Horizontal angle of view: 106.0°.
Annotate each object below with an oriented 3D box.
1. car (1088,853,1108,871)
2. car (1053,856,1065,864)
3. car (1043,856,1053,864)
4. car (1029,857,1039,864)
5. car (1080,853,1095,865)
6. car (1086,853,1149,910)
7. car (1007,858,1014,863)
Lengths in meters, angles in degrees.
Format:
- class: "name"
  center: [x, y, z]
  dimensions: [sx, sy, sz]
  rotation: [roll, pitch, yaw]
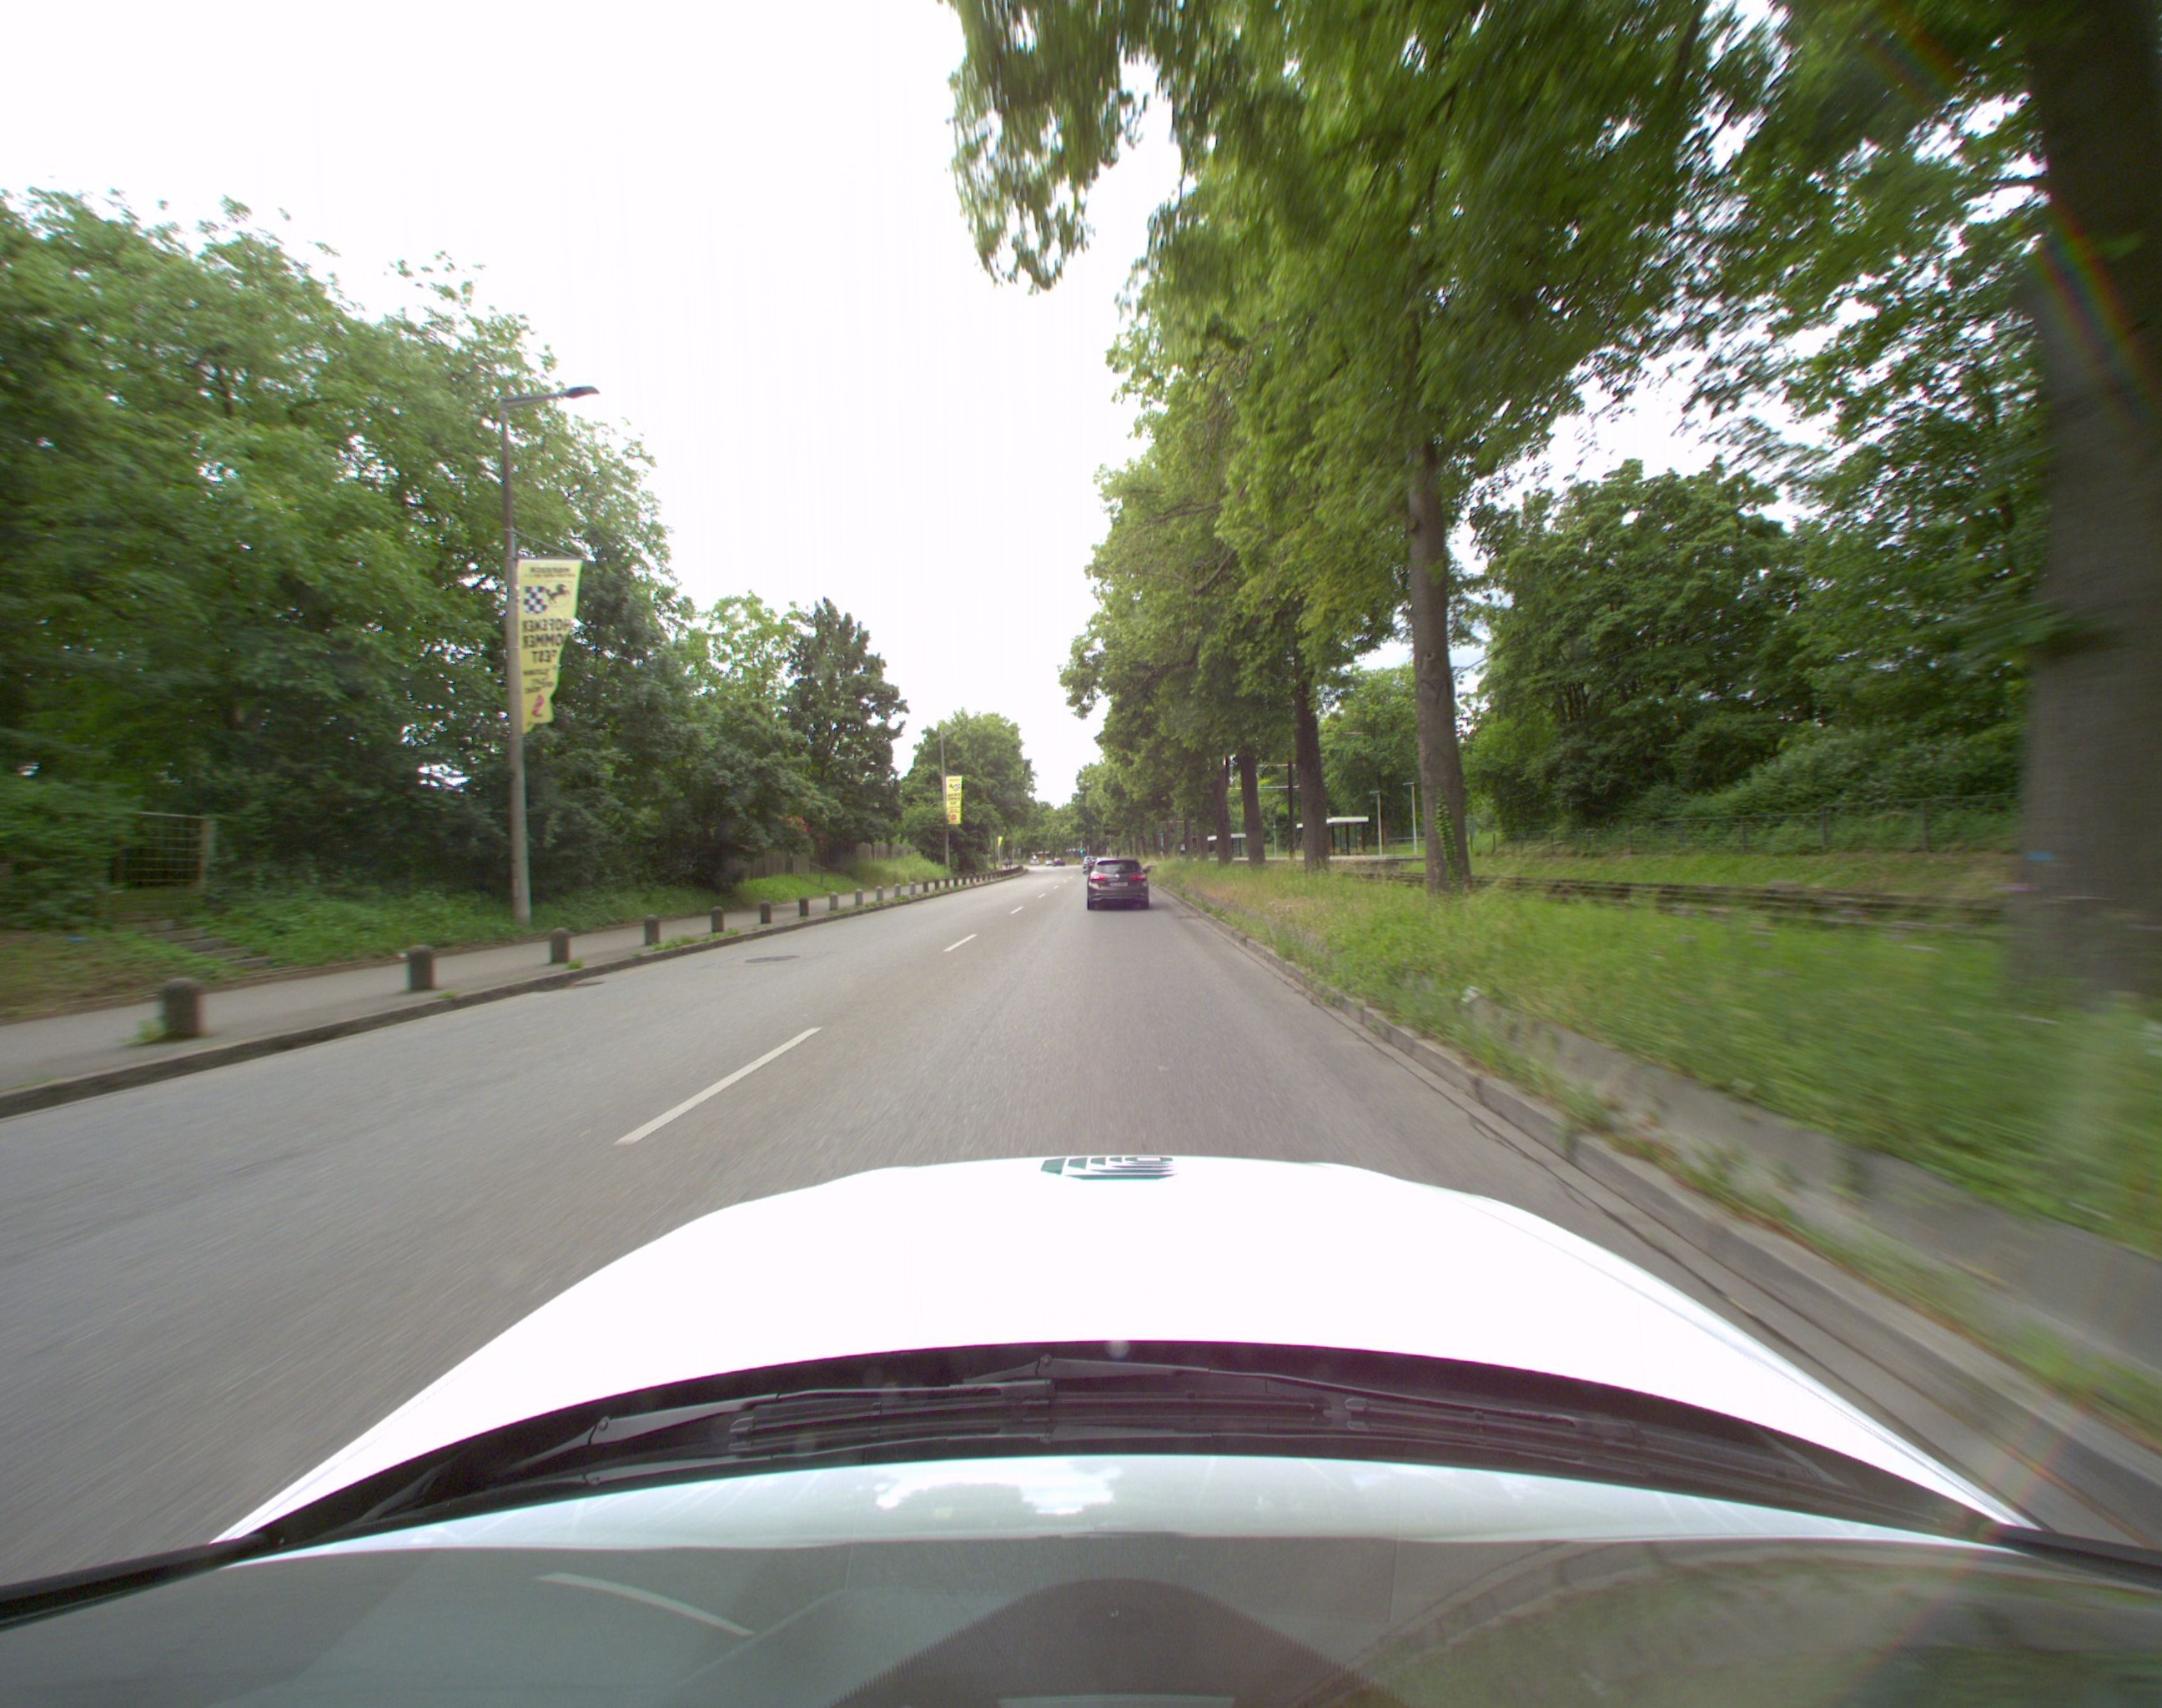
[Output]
- class: "car"
  center: [1.480, 0.700, 71.920]
  dimensions: [1.724, 1.537, 3.552]
  rotation: [-1, 0, 1]
- class: "car"
  center: [-3.734, 0.998, 139.338]
  dimensions: [1.561, 1.441, 3.540]
  rotation: [-1, 0, -10]
- class: "car"
  center: [-6.264, 1.099, 154.451]
  dimensions: [1.561, 1.441, 3.540]
  rotation: [-1, 0, -10]
- class: "car"
  center: [-10.268, 1.450, 177.018]
  dimensions: [1.563, 1.441, 3.536]
  rotation: [-1, 0, -13]
- class: "car"
  center: [0.789, 0.548, 100.652]
  dimensions: [1.559, 1.441, 3.546]
  rotation: [-1, 0, -5]
- class: "car"
  center: [1.037, 0.747, 24.147]
  dimensions: [1.724, 1.537, 3.552]
  rotation: [-1, 0, 1]
- class: "car"
  center: [-18.256, 1.650, 210.765]
  dimensions: [1.561, 1.441, 3.541]
  rotation: [-1, 0, -8]
